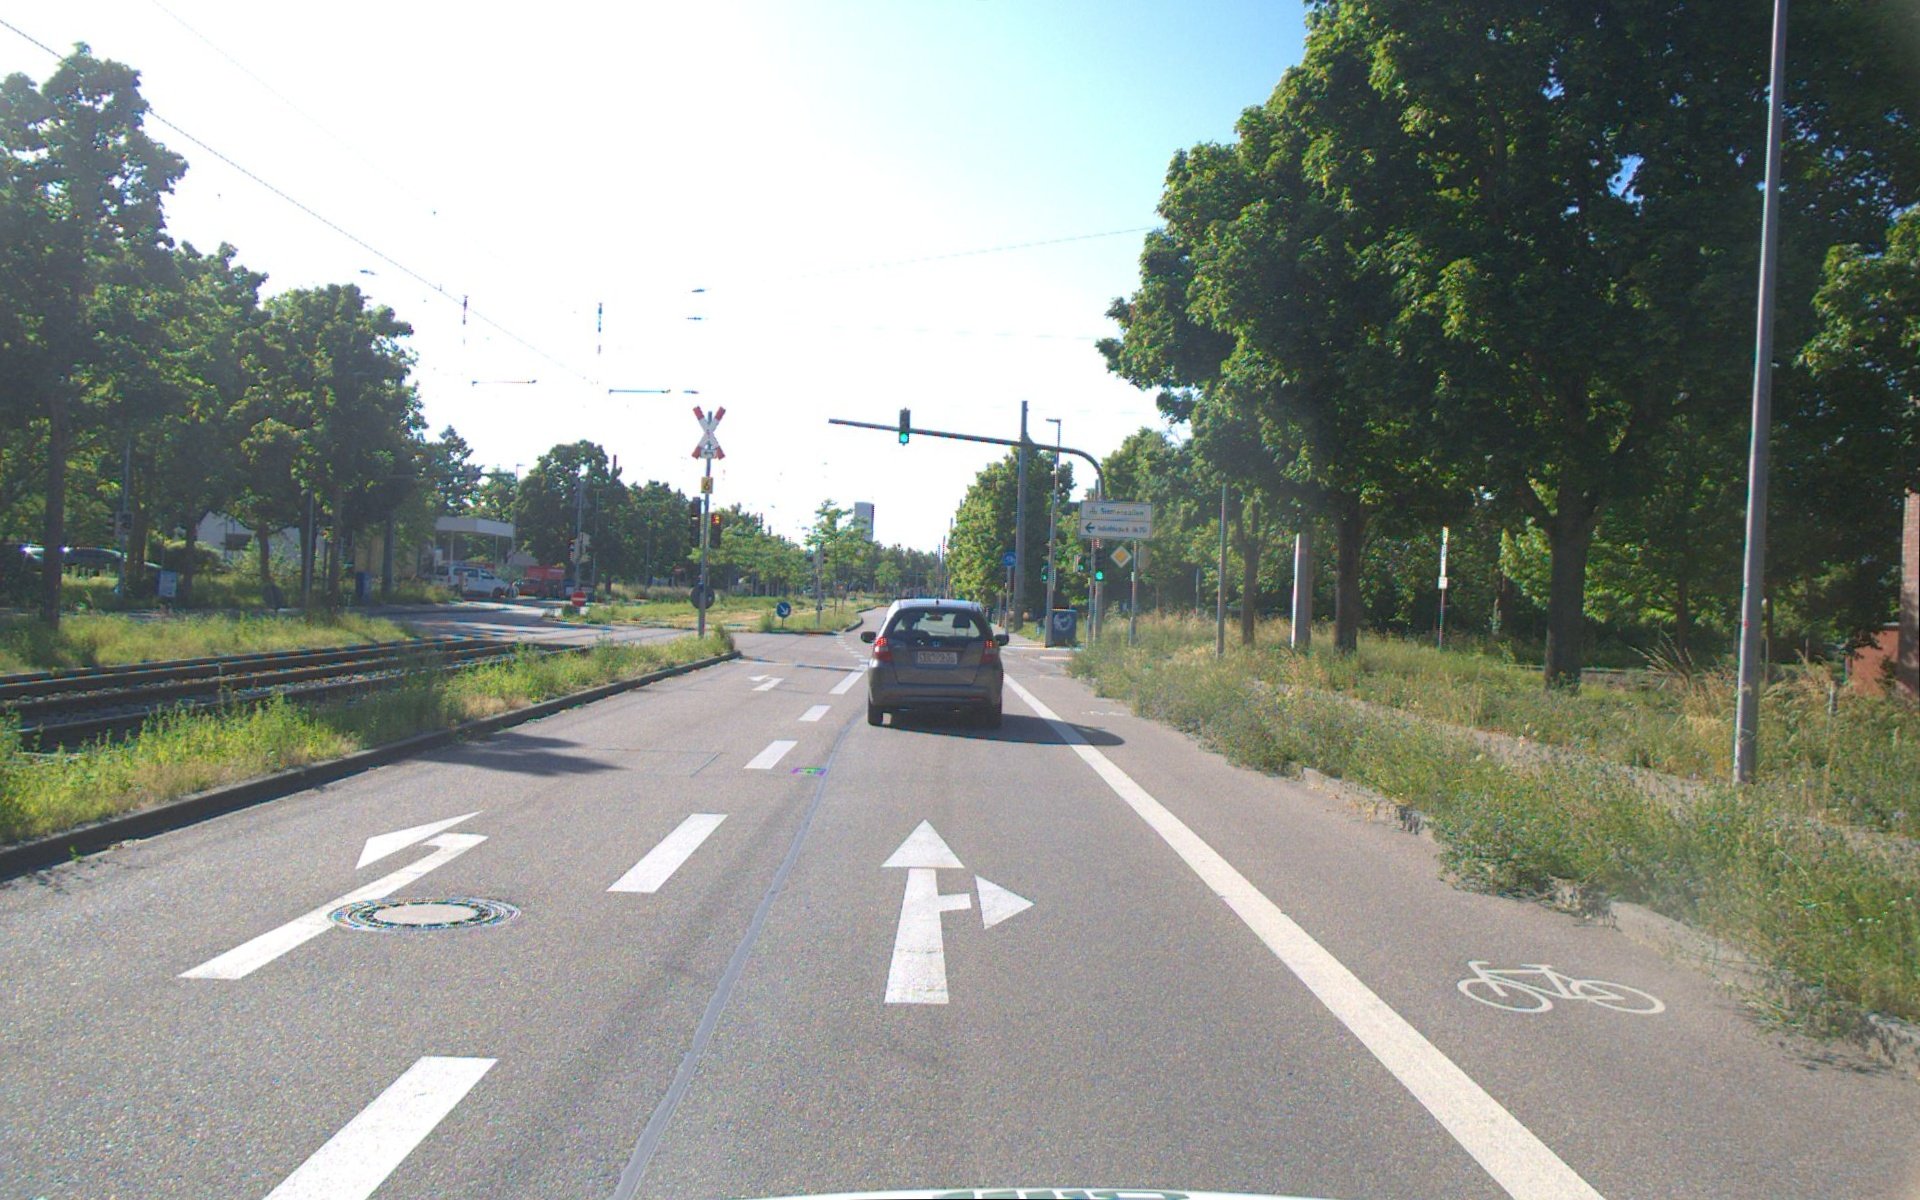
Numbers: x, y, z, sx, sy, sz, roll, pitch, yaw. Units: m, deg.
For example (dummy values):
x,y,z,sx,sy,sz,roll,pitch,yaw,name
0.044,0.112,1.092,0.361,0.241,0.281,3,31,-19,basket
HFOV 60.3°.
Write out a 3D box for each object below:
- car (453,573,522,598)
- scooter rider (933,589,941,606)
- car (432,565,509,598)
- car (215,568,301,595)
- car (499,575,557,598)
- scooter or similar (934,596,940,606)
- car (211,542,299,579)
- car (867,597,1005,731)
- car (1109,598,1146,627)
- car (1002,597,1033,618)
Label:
x,y,z,sx,sy,sz,roll,pitch,yaw,name
-32.769,-0.971,114.744,1.756,1.554,4.454,2,0,35,car
-2.541,-0.276,183.681,0.702,1.934,0.934,2,0,-4,scooter rider
-32.588,-1.199,110.162,1.823,2.008,4.768,2,0,35,car
-37.579,-0.988,88.592,3.889,1.187,1.664,3,0,-7,car
-33.142,-1.022,126.875,3.991,1.596,1.790,2,0,-5,car
-2.529,0.131,183.783,0.528,1.138,1.416,2,0,-4,scooter or similar
-44.729,-2.502,104.945,4.628,2.128,2.019,2,0,-4,car
-0.257,0.751,21.144,1.591,1.526,3.457,1,0,1,car
12.206,0.899,120.866,1.834,2.000,5.164,3,0,-2,car
4.160,0.525,120.776,1.739,1.411,3.866,2,0,-5,car
